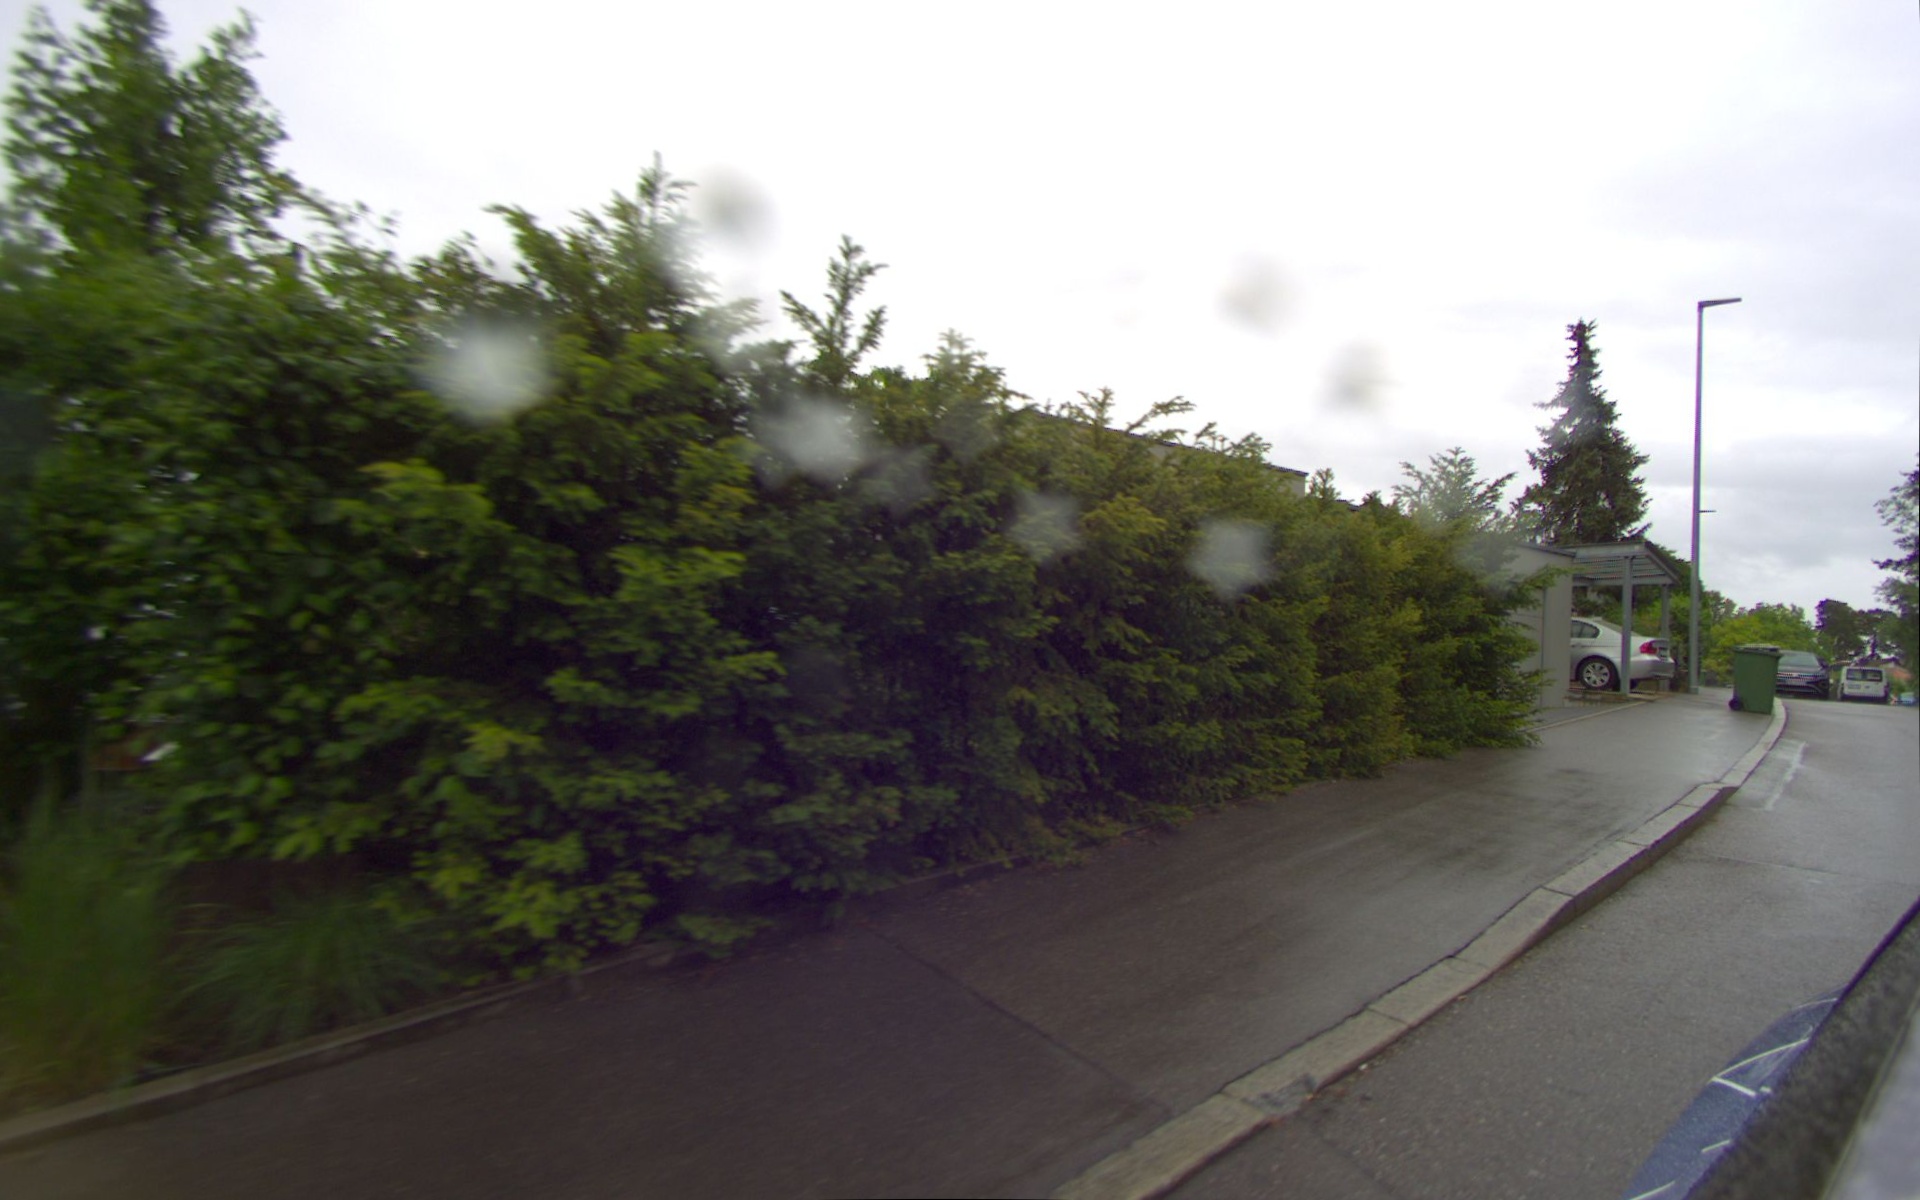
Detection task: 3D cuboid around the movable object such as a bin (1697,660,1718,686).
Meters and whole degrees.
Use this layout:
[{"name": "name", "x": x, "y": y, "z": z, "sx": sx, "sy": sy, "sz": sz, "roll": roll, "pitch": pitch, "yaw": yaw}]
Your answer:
[{"name": "movable object such as a bin", "x": 35.493, "y": 3.461, "z": 48.035, "sx": 0.738, "sy": 1.102, "sz": 0.591, "roll": 4, "pitch": -2, "yaw": 40}]

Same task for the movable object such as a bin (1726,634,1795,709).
[{"name": "movable object such as a bin", "x": 13.088, "y": 1.150, "z": 16.557, "sx": 0.789, "sy": 1.109, "sz": 0.665, "roll": 6, "pitch": 2, "yaw": 40}]

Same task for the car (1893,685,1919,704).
[{"name": "car", "x": 79.319, "y": 7.863, "z": 83.501, "sx": 4.127, "sy": 1.488, "sz": 1.804, "roll": 5, "pitch": -3, "yaw": -21}]

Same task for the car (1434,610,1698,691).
[{"name": "car", "x": 12.135, "y": 0.960, "z": 20.476, "sx": 1.906, "sy": 1.433, "sz": 4.224, "roll": 3, "pitch": -2, "yaw": -40}]

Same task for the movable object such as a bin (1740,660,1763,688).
[{"name": "movable object such as a bin", "x": 33.392, "y": 3.122, "z": 42.708, "sx": 0.726, "sy": 1.092, "sz": 0.652, "roll": 1, "pitch": -4, "yaw": 35}]

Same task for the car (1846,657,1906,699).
[{"name": "car", "x": 50.008, "y": 4.295, "z": 55.336, "sx": 2.109, "sy": 2.000, "sz": 5.096, "roll": 2, "pitch": -3, "yaw": 39}]

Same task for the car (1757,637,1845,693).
[{"name": "car", "x": 27.200, "y": 2.140, "z": 32.852, "sx": 1.870, "sy": 1.612, "sz": 4.419, "roll": 2, "pitch": -3, "yaw": 36}]
